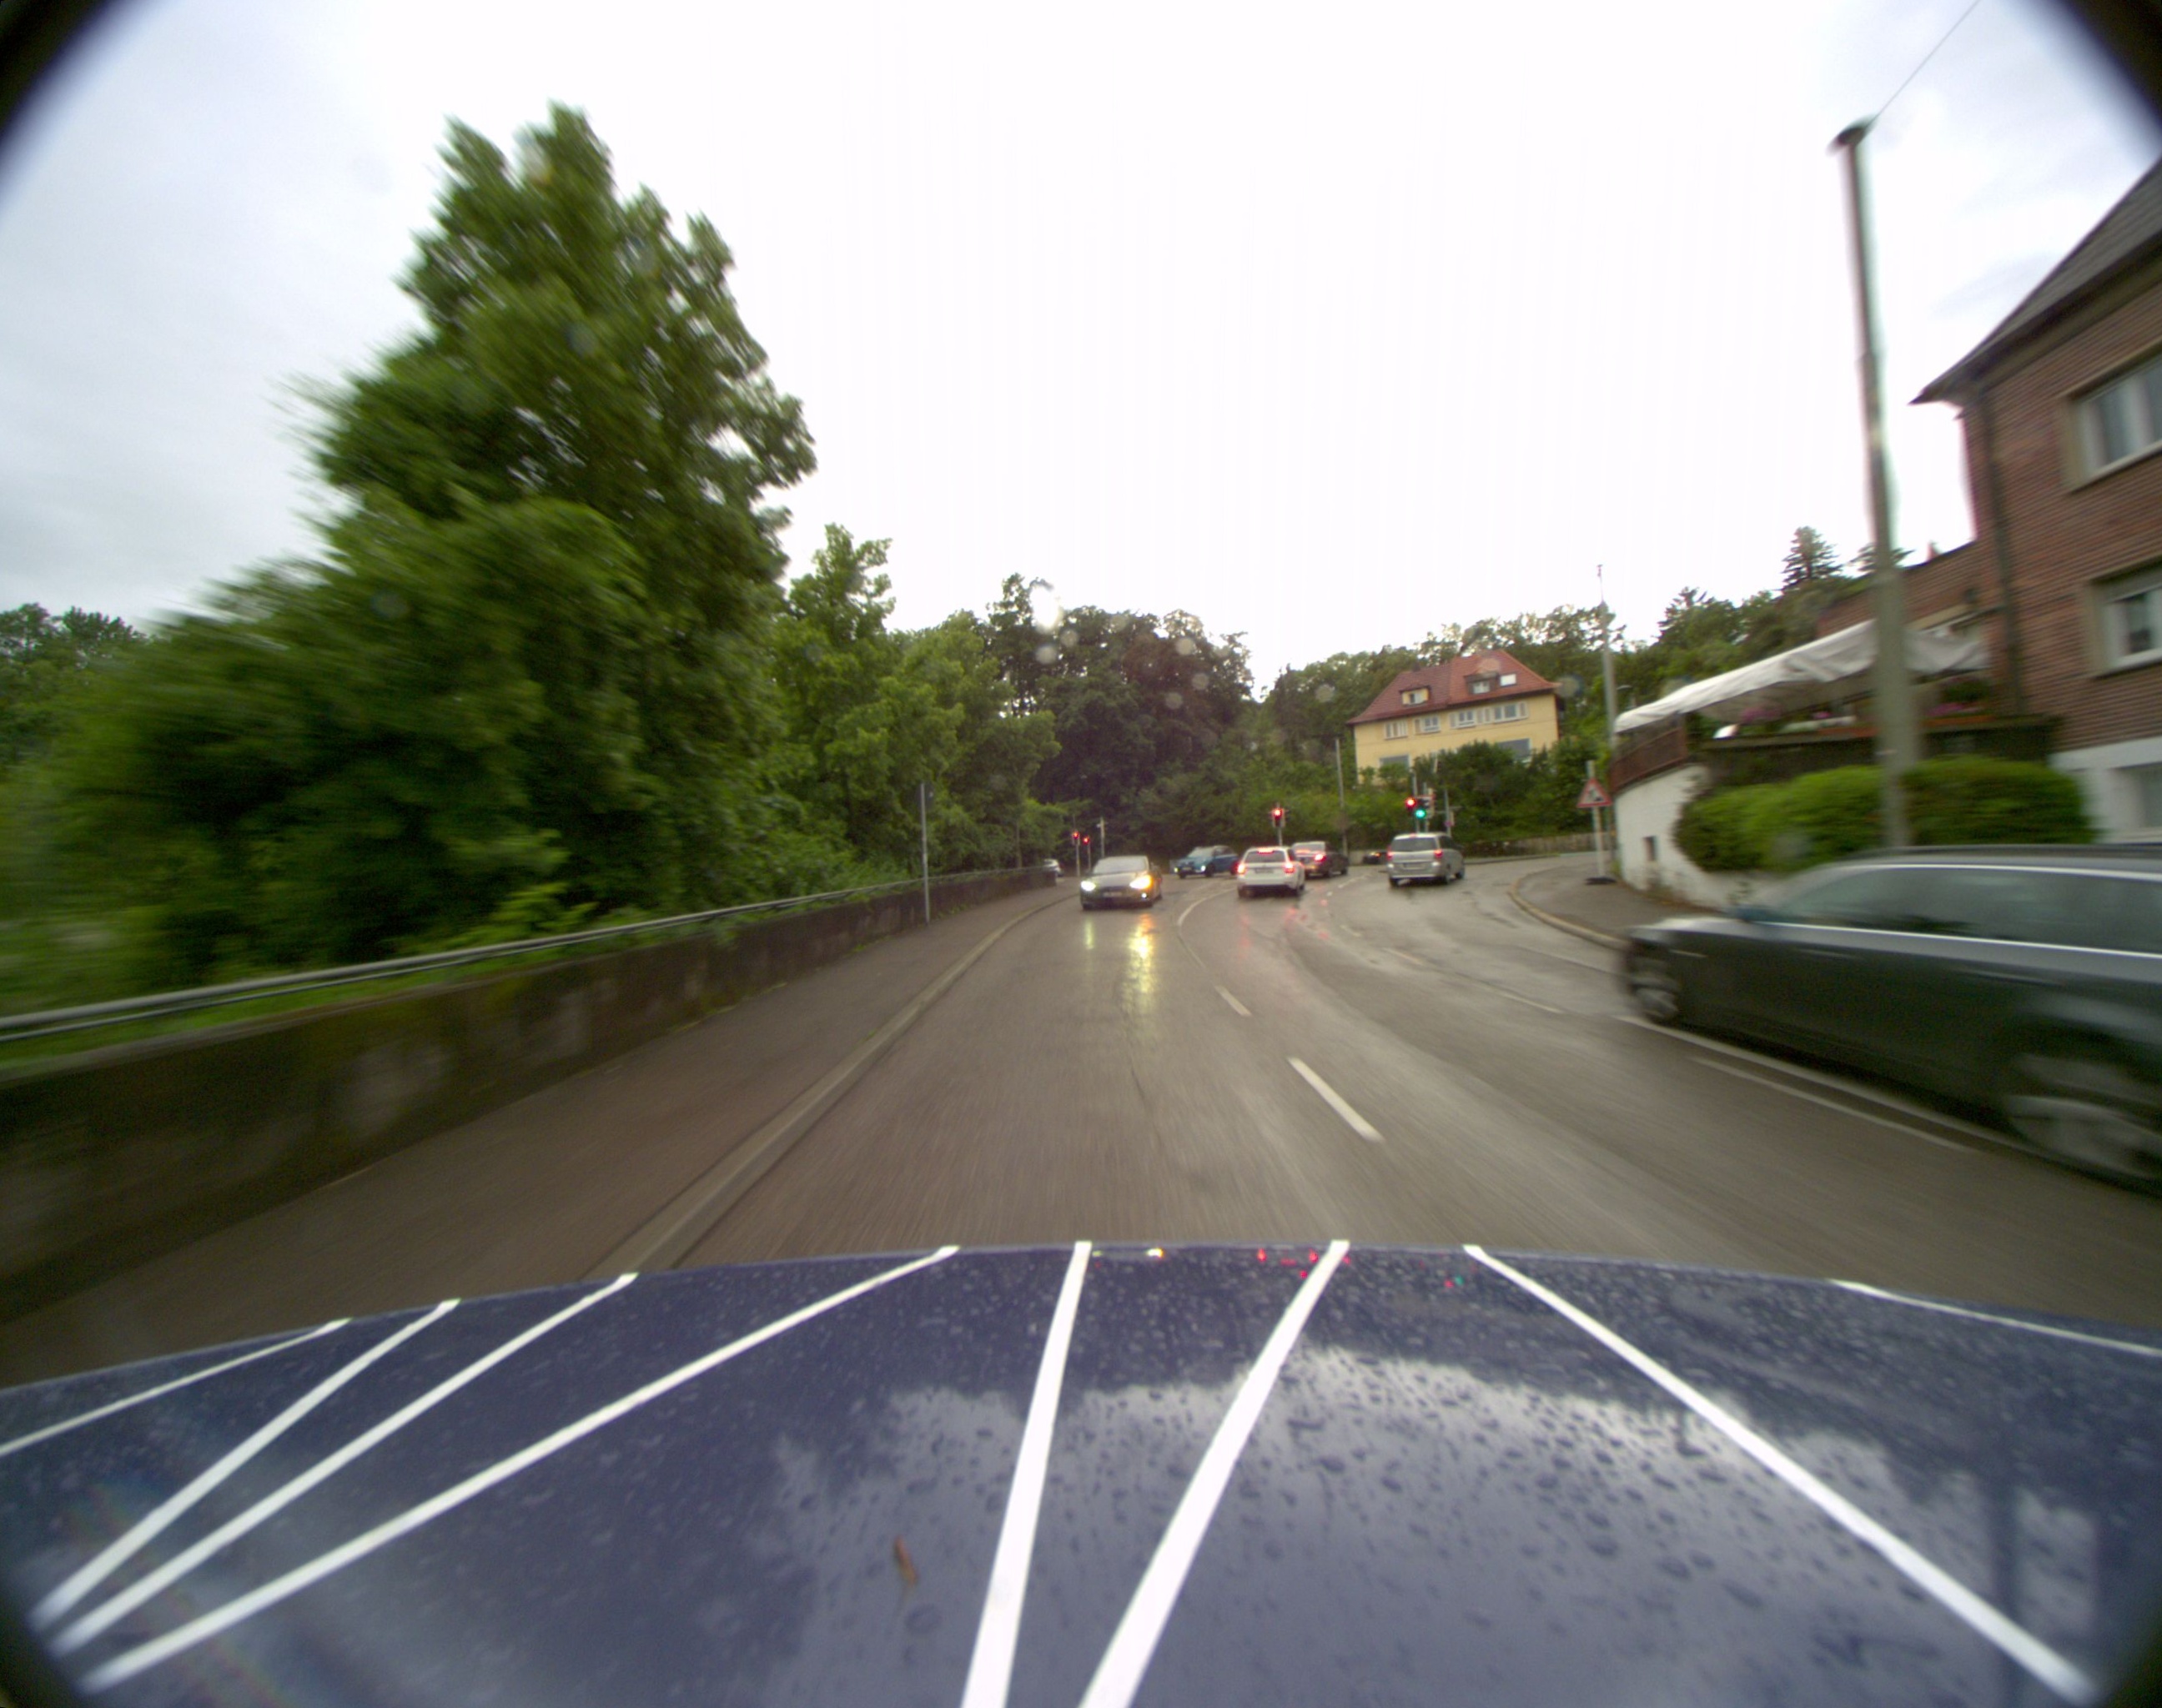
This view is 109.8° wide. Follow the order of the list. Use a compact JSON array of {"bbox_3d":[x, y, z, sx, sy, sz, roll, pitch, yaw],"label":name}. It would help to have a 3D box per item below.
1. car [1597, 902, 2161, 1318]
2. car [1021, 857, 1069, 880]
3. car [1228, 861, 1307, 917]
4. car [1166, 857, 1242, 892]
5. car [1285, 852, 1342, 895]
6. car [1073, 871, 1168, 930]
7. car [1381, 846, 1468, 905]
[{"bbox_3d":[5.263,1.128,4.325,1.741,1.442,4.617,-1,-1,4],"label":"car"},{"bbox_3d":[-2.693,1.112,57.400,3.361,1.442,1.555,-5,-4,6],"label":"car"},{"bbox_3d":[5.906,1.009,23.705,1.849,1.465,4.447,0,1,21],"label":"car"},{"bbox_3d":[6.308,1.052,38.674,1.798,1.599,4.050,-6,-5,42],"label":"car"},{"bbox_3d":[9.579,0.752,31.087,1.861,1.387,4.601,-2,2,21],"label":"car"},{"bbox_3d":[1.258,1.267,21.905,1.833,1.384,4.328,-2,0,15],"label":"car"},{"bbox_3d":[11.284,0.659,24.789,1.712,1.576,4.468,-3,1,35],"label":"car"}]
